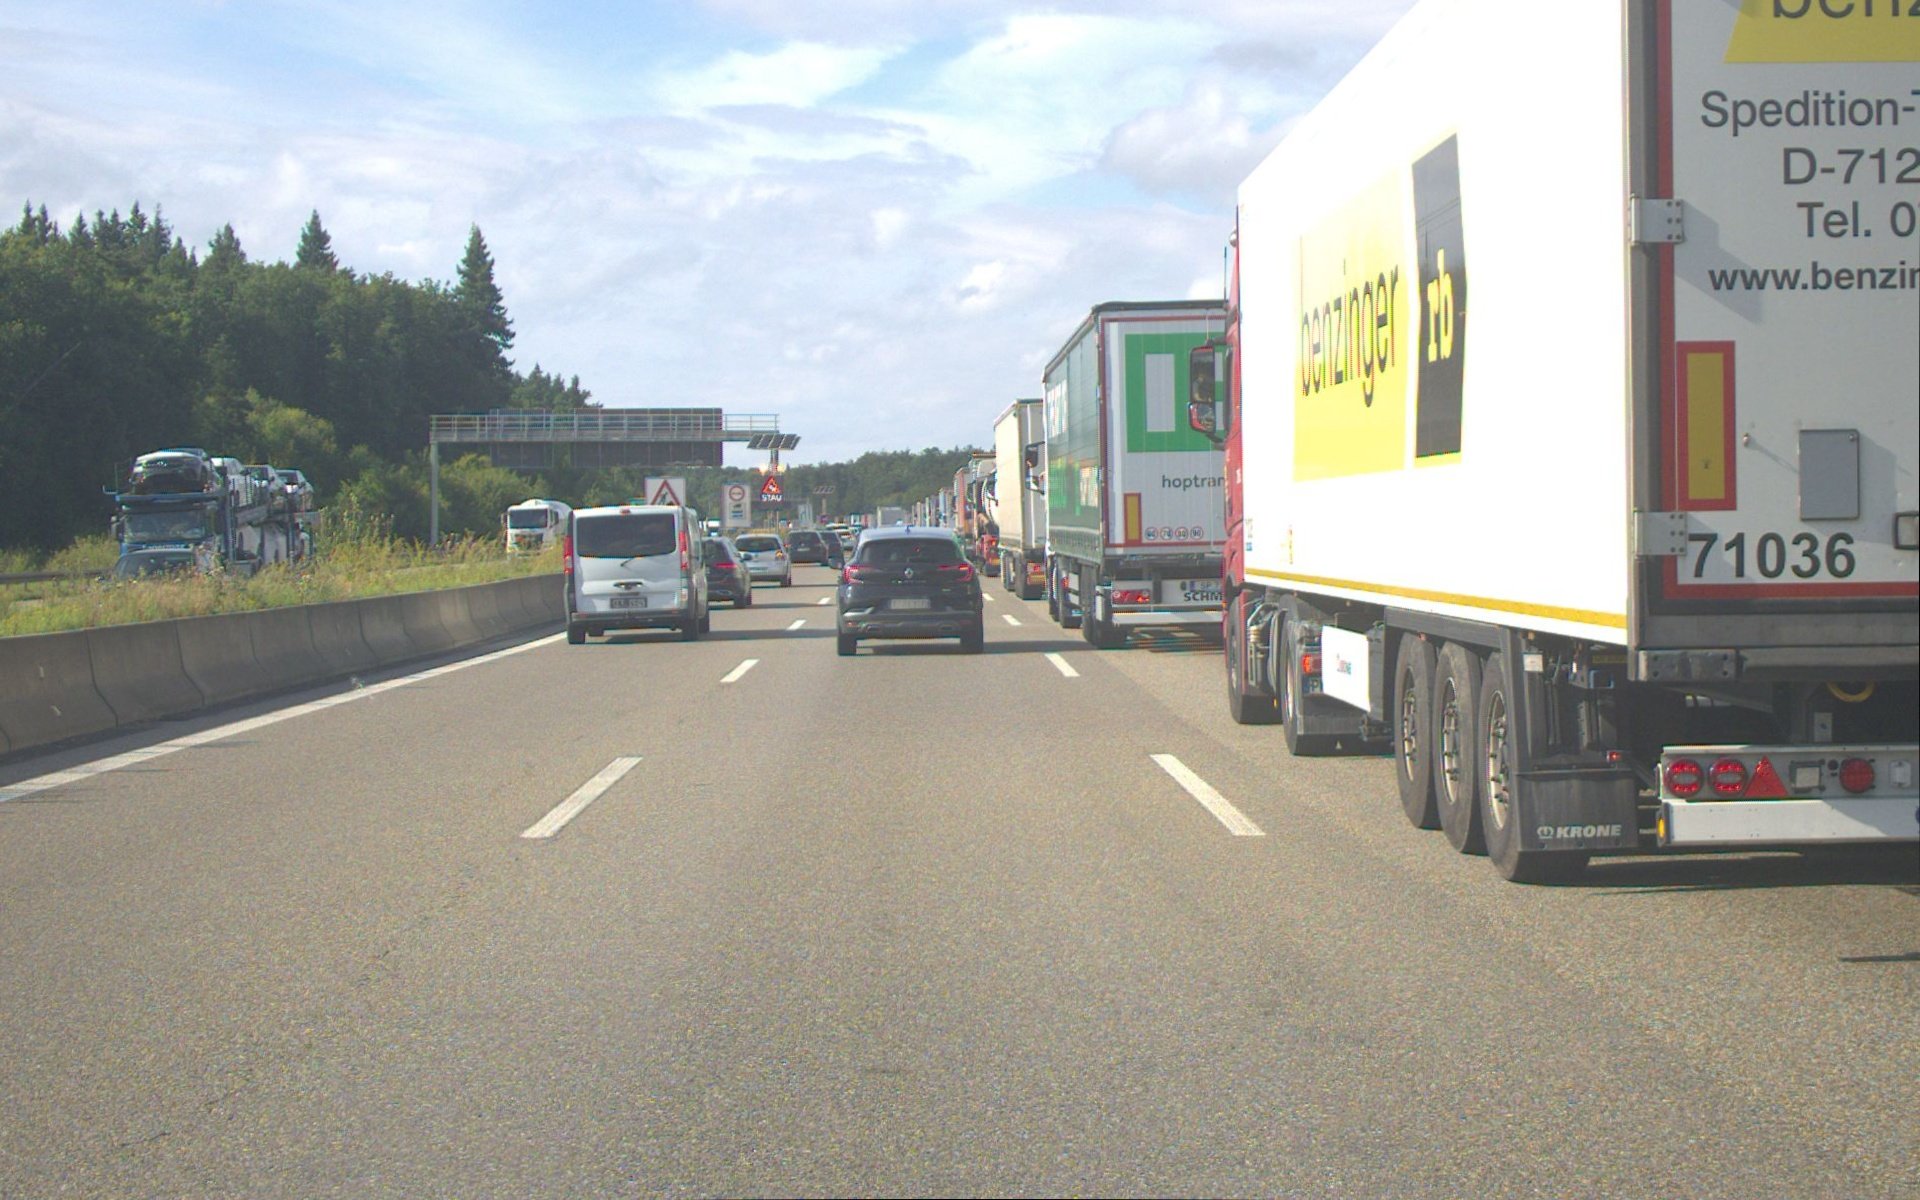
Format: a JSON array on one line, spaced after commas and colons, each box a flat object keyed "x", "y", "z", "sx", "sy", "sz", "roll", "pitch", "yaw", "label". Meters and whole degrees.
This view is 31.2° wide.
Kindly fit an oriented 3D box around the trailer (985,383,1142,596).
[{"x": 2.056, "y": -2.306, "z": 73.217, "sx": 2.703, "sy": 4.068, "sz": 12.945, "roll": -2, "pitch": 1, "yaw": -1, "label": "trailer"}]

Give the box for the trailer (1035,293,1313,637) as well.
[{"x": 2.575, "y": -1.648, "z": 45.669, "sx": 2.661, "sy": 3.855, "sz": 13.396, "roll": -1, "pitch": 1, "yaw": -1, "label": "trailer"}]

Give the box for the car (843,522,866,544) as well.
[{"x": -6.619, "y": -4.205, "z": 215.074, "sx": 1.361, "sy": 1.296, "sz": 3.085, "roll": 2, "pitch": 1, "yaw": -1, "label": "car"}]

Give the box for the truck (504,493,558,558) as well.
[{"x": -22.093, "y": -3.827, "z": 177.296, "sx": 2.317, "sy": 3.262, "sz": 6.106, "roll": -1, "pitch": 1, "yaw": -3, "label": "truck"}]

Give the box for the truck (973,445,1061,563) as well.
[{"x": 1.764, "y": -3.017, "z": 108.786, "sx": 2.533, "sy": 3.571, "sz": 6.730, "roll": -1, "pitch": 1, "yaw": -1, "label": "truck"}]

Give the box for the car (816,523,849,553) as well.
[{"x": -5.920, "y": -2.879, "z": 159.896, "sx": 1.434, "sy": 1.305, "sz": 3.534, "roll": 2, "pitch": 1, "yaw": -1, "label": "car"}]

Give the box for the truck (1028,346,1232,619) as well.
[{"x": 2.497, "y": -1.744, "z": 52.575, "sx": 2.647, "sy": 3.855, "sz": 6.997, "roll": -1, "pitch": 1, "yaw": -1, "label": "truck"}]

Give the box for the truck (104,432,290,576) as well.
[{"x": -20.913, "y": -2.591, "z": 94.960, "sx": 2.831, "sy": 3.676, "sz": 11.133, "roll": -1, "pitch": 1, "yaw": -1, "label": "truck"}]

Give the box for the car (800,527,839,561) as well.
[{"x": -5.686, "y": -2.262, "z": 139.382, "sx": 1.434, "sy": 1.305, "sz": 3.534, "roll": 2, "pitch": 1, "yaw": -1, "label": "car"}]

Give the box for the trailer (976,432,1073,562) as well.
[{"x": 1.849, "y": -3.001, "z": 102.549, "sx": 2.541, "sy": 3.641, "sz": 10.627, "roll": -1, "pitch": 1, "yaw": 0, "label": "trailer"}]

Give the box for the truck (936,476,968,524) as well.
[{"x": -0.512, "y": -6.581, "z": 226.189, "sx": 1.993, "sy": 3.042, "sz": 4.982, "roll": 2, "pitch": 1, "yaw": 0, "label": "truck"}]

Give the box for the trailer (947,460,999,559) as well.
[{"x": 0.542, "y": -3.971, "z": 151.936, "sx": 2.150, "sy": 4.244, "sz": 8.441, "roll": -1, "pitch": 1, "yaw": 0, "label": "trailer"}]

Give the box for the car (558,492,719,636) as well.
[{"x": -4.738, "y": -0.556, "z": 51.284, "sx": 1.933, "sy": 1.972, "sz": 5.099, "roll": 2, "pitch": 1, "yaw": -1, "label": "car"}]

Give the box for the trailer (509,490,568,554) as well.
[{"x": -22.353, "y": -4.154, "z": 182.729, "sx": 2.321, "sy": 3.273, "sz": 10.877, "roll": -1, "pitch": 1, "yaw": -3, "label": "trailer"}]

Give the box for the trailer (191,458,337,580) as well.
[{"x": -21.158, "y": -2.445, "z": 105.015, "sx": 2.798, "sy": 3.516, "sz": 8.955, "roll": -1, "pitch": 1, "yaw": -2, "label": "trailer"}]

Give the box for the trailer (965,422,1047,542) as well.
[{"x": 1.673, "y": -4.331, "z": 129.149, "sx": 2.802, "sy": 4.229, "sz": 11.057, "roll": -2, "pitch": 1, "yaw": 0, "label": "trailer"}]

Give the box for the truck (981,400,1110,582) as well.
[{"x": 1.948, "y": -2.516, "z": 80.712, "sx": 2.708, "sy": 4.046, "sz": 6.362, "roll": -1, "pitch": 1, "yaw": -1, "label": "truck"}]

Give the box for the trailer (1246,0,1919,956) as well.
[{"x": 3.439, "y": -0.898, "z": 17.863, "sx": 2.791, "sy": 3.925, "sz": 13.070, "roll": 0, "pitch": 1, "yaw": 0, "label": "trailer"}]

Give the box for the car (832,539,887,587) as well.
[{"x": -3.032, "y": -1.130, "z": 103.781, "sx": 1.581, "sy": 1.391, "sz": 3.208, "roll": 2, "pitch": 1, "yaw": -1, "label": "car"}]

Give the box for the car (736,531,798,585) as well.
[{"x": -5.212, "y": -1.146, "z": 93.236, "sx": 1.500, "sy": 1.391, "sz": 3.476, "roll": 2, "pitch": 1, "yaw": -1, "label": "car"}]

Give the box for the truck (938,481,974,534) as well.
[{"x": -0.232, "y": -5.338, "z": 198.899, "sx": 1.993, "sy": 2.922, "sz": 4.982, "roll": 2, "pitch": 1, "yaw": 0, "label": "truck"}]

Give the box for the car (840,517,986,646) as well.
[{"x": -0.590, "y": -0.255, "z": 43.019, "sx": 1.696, "sy": 1.478, "sz": 4.160, "roll": 2, "pitch": 1, "yaw": -1, "label": "car"}]

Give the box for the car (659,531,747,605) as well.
[{"x": -5.167, "y": -0.663, "z": 69.352, "sx": 1.500, "sy": 1.391, "sz": 3.476, "roll": 2, "pitch": 1, "yaw": -1, "label": "car"}]

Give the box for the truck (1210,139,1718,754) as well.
[{"x": 3.432, "y": -1.031, "z": 24.903, "sx": 2.802, "sy": 3.925, "sz": 5.826, "roll": 0, "pitch": 1, "yaw": 0, "label": "truck"}]

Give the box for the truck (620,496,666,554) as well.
[{"x": -23.989, "y": -5.663, "z": 260.762, "sx": 2.711, "sy": 4.229, "sz": 10.345, "roll": -1, "pitch": 1, "yaw": -2, "label": "truck"}]
